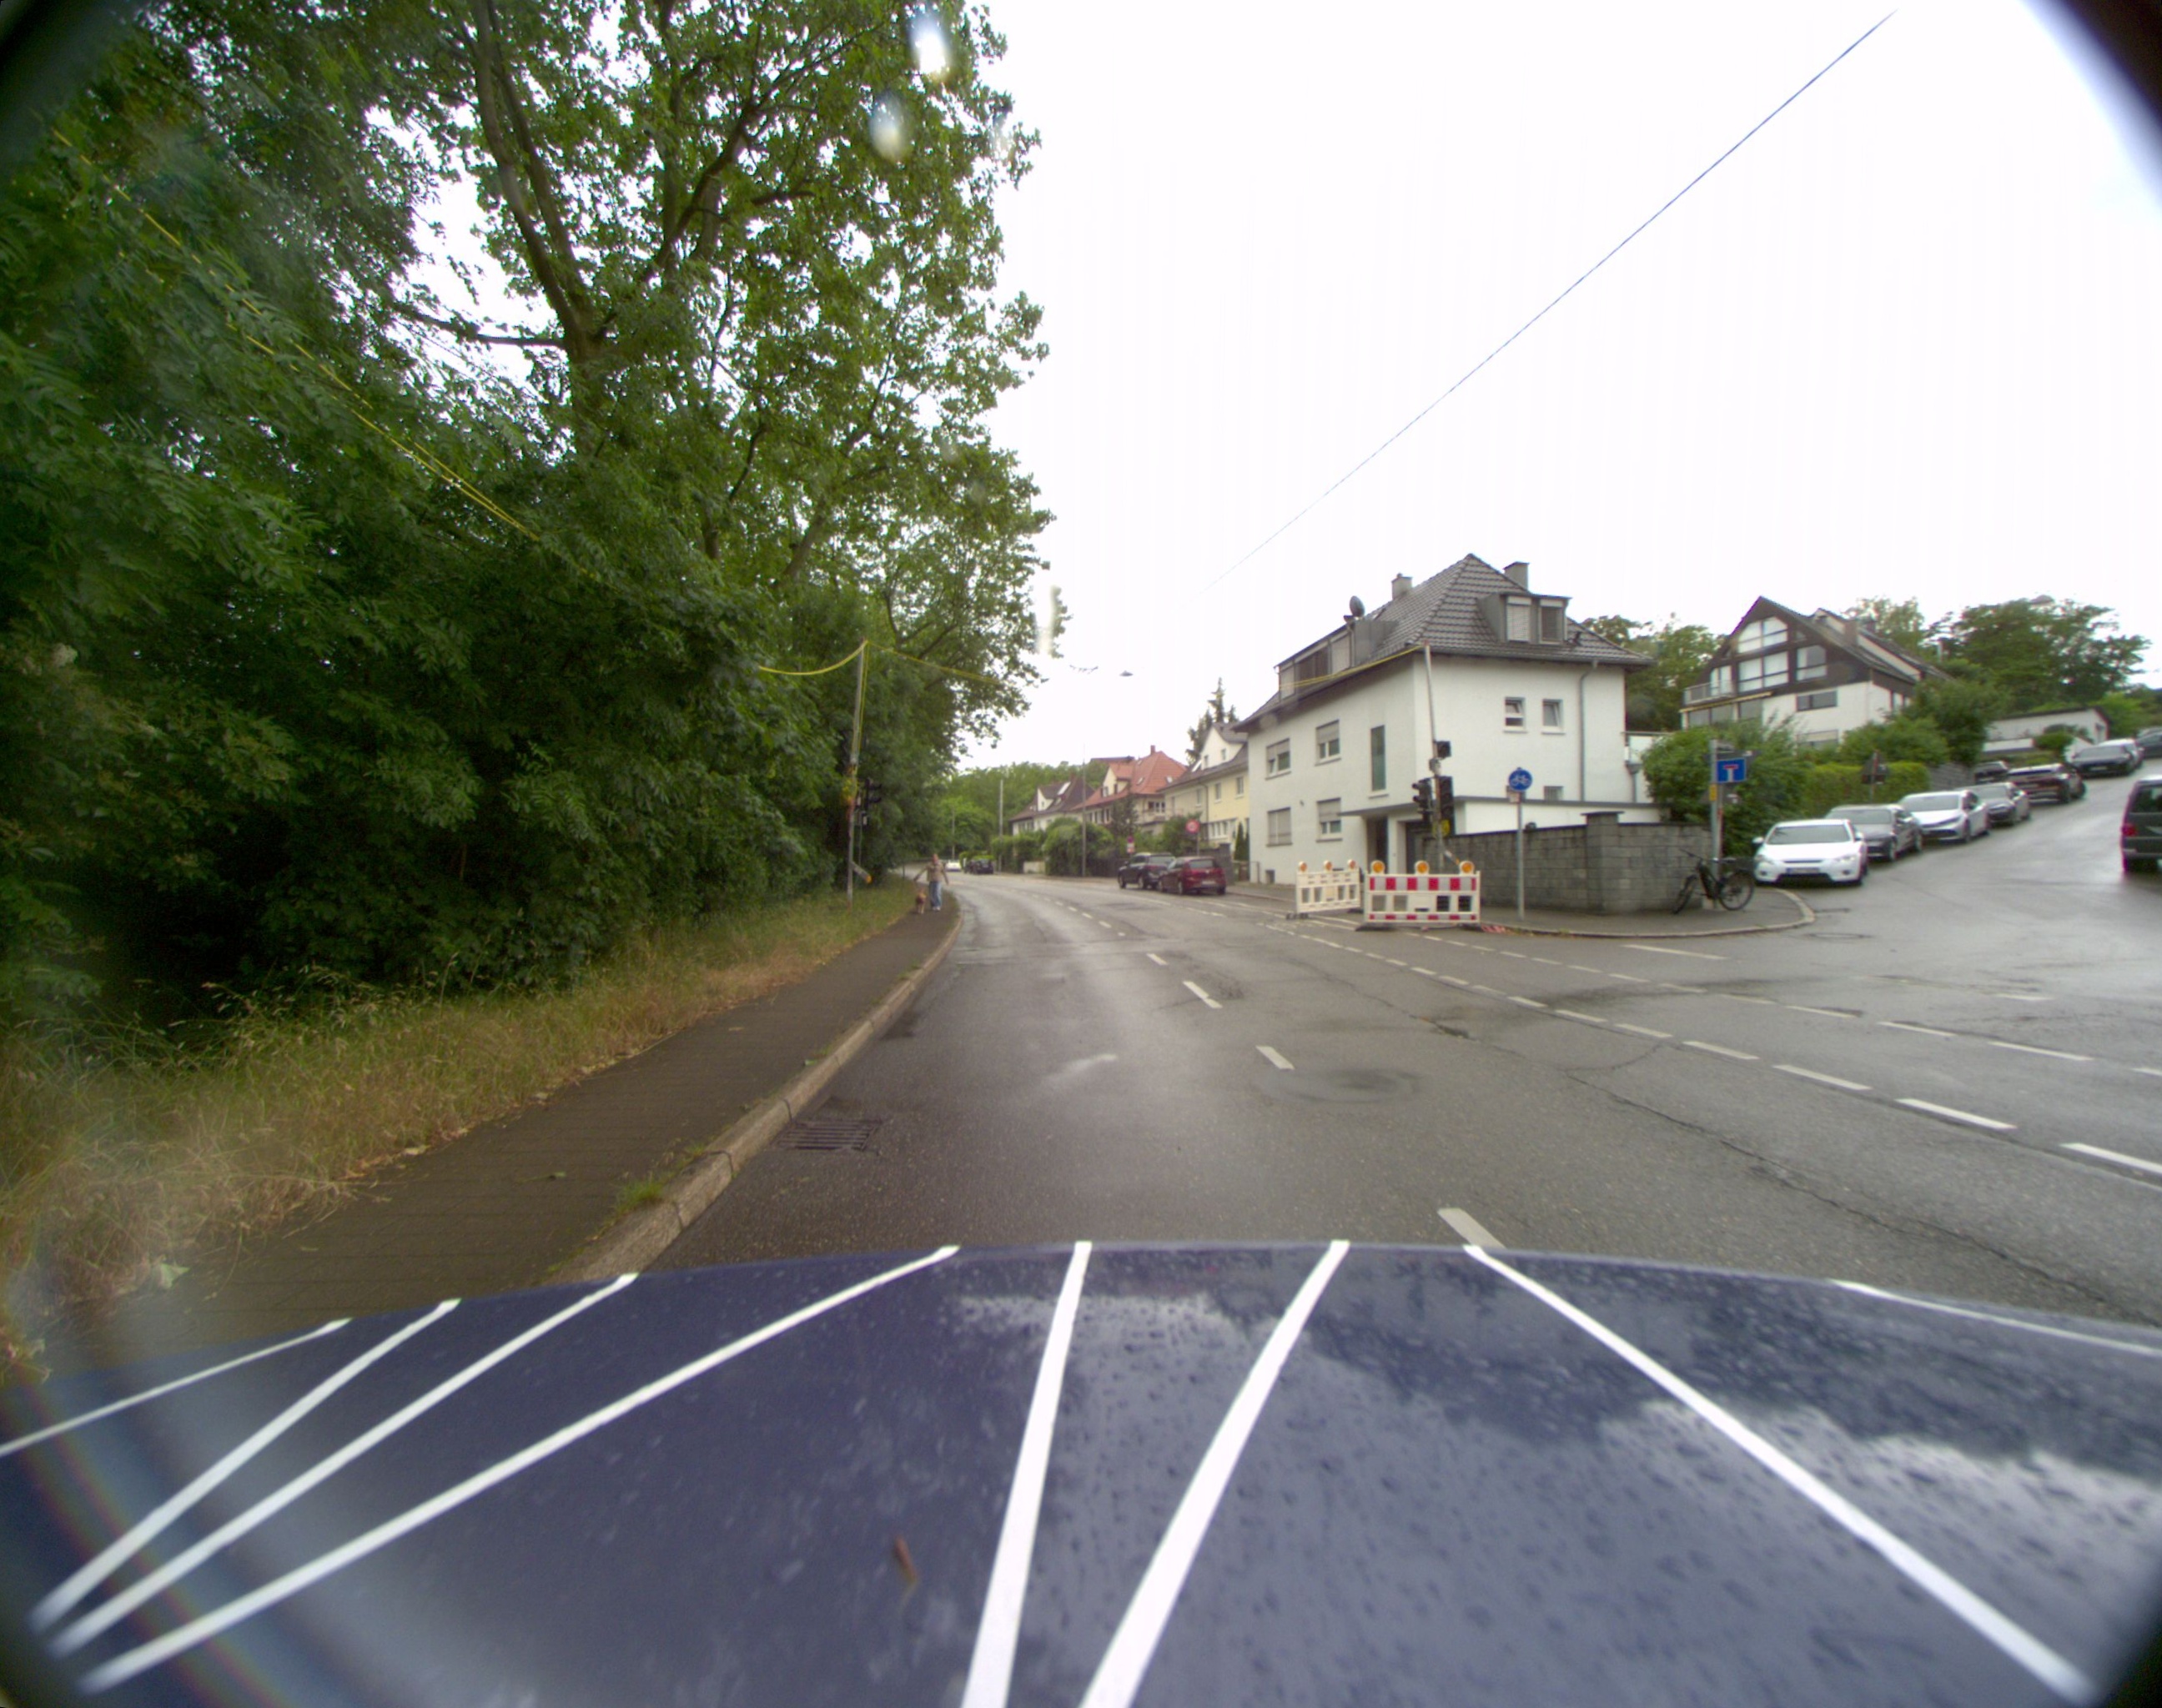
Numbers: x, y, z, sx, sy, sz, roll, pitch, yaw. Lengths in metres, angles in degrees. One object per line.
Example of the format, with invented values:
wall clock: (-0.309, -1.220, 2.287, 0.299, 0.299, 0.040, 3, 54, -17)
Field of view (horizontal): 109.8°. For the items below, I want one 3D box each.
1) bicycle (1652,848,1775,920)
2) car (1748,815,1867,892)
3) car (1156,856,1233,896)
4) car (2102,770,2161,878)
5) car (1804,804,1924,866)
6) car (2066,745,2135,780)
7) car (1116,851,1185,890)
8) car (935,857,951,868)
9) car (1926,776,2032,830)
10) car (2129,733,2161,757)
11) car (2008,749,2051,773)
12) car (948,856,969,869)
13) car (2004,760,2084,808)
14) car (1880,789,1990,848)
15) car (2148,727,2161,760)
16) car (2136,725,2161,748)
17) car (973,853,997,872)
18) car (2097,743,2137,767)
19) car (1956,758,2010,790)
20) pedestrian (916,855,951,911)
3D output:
bicycle: (11.587, 0.533, 13.935, 2.006, 1.232, 0.510, -2, 3, -8)
car: (17.777, -0.051, 18.537, 4.126, 1.455, 1.849, -7, 4, -43)
car: (4.383, 0.815, 29.905, 1.787, 1.423, 3.844, -2, 0, -10)
car: (23.883, -0.754, 16.261, 4.497, 2.003, 1.996, -7, 3, -31)
car: (22.464, -0.560, 21.758, 3.910, 1.380, 1.719, -7, 3, -34)
car: (54.816, -4.877, 40.840, 4.034, 1.511, 1.786, -2, 0, -31)
car: (3.130, 0.729, 35.033, 1.798, 1.630, 4.150, -1, 0, -15)
car: (-18.740, 1.134, 103.012, 1.691, 1.419, 3.770, -2, 0, -17)
car: (32.327, -1.832, 27.333, 4.111, 1.430, 1.921, -9, 4, -33)
car: (68.326, -6.933, 47.697, 1.286, 1.310, 2.945, -3, 1, -36)
car: (57.240, -5.635, 45.864, 3.656, 1.205, 1.577, -7, 3, -38)
car: (-15.233, 1.073, 94.177, 2.071, 1.477, 4.556, -2, 0, -16)
car: (40.720, -2.983, 32.112, 4.004, 1.617, 1.638, -8, 4, -32)
car: (27.270, -1.154, 24.231, 3.951, 1.462, 1.755, -7, 3, -33)
car: (72.466, -7.443, 48.981, 2.003, 2.000, 3.993, -2, -4, -32)
car: (81.120, -8.862, 55.958, 1.754, 1.508, 3.961, -3, 1, -35)
car: (-9.607, 0.843, 75.956, 1.882, 1.814, 4.121, -2, 0, -14)
car: (59.838, -5.739, 43.897, 2.988, 1.191, 1.305, -6, 3, -35)
car: (52.869, -4.647, 44.516, 4.020, 1.545, 1.812, -3, 1, -37)
pedestrian: (-4.113, 0.796, 21.248, 0.735, 1.490, 0.785, -3, 1, -1)
